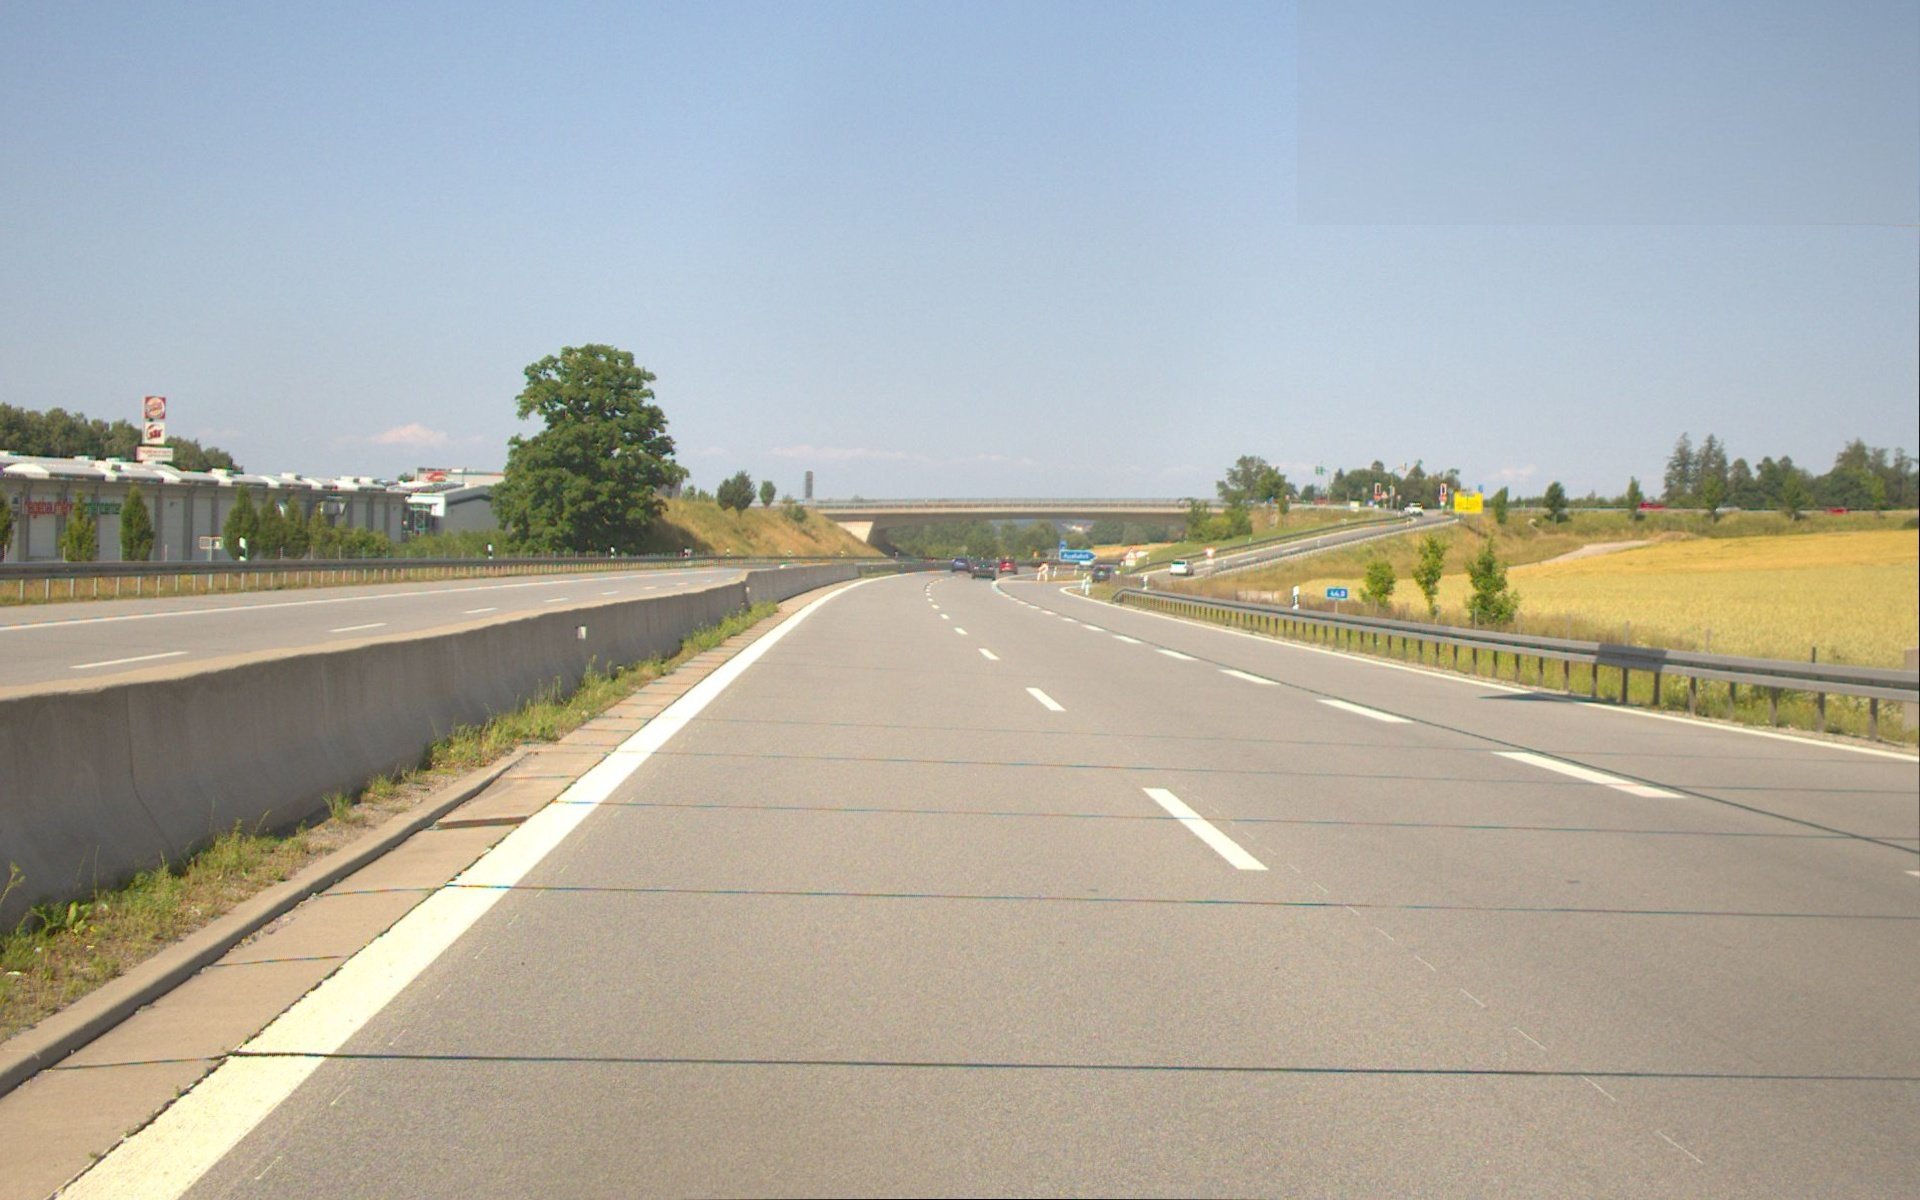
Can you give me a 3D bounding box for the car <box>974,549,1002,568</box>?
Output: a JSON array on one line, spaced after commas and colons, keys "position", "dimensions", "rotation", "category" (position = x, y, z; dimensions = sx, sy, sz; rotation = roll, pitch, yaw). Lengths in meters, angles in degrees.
[{"position": [2.114, -3.129, 258.923], "dimensions": [1.994, 1.415, 4.000], "rotation": [1, 1, 2], "category": "car"}]
